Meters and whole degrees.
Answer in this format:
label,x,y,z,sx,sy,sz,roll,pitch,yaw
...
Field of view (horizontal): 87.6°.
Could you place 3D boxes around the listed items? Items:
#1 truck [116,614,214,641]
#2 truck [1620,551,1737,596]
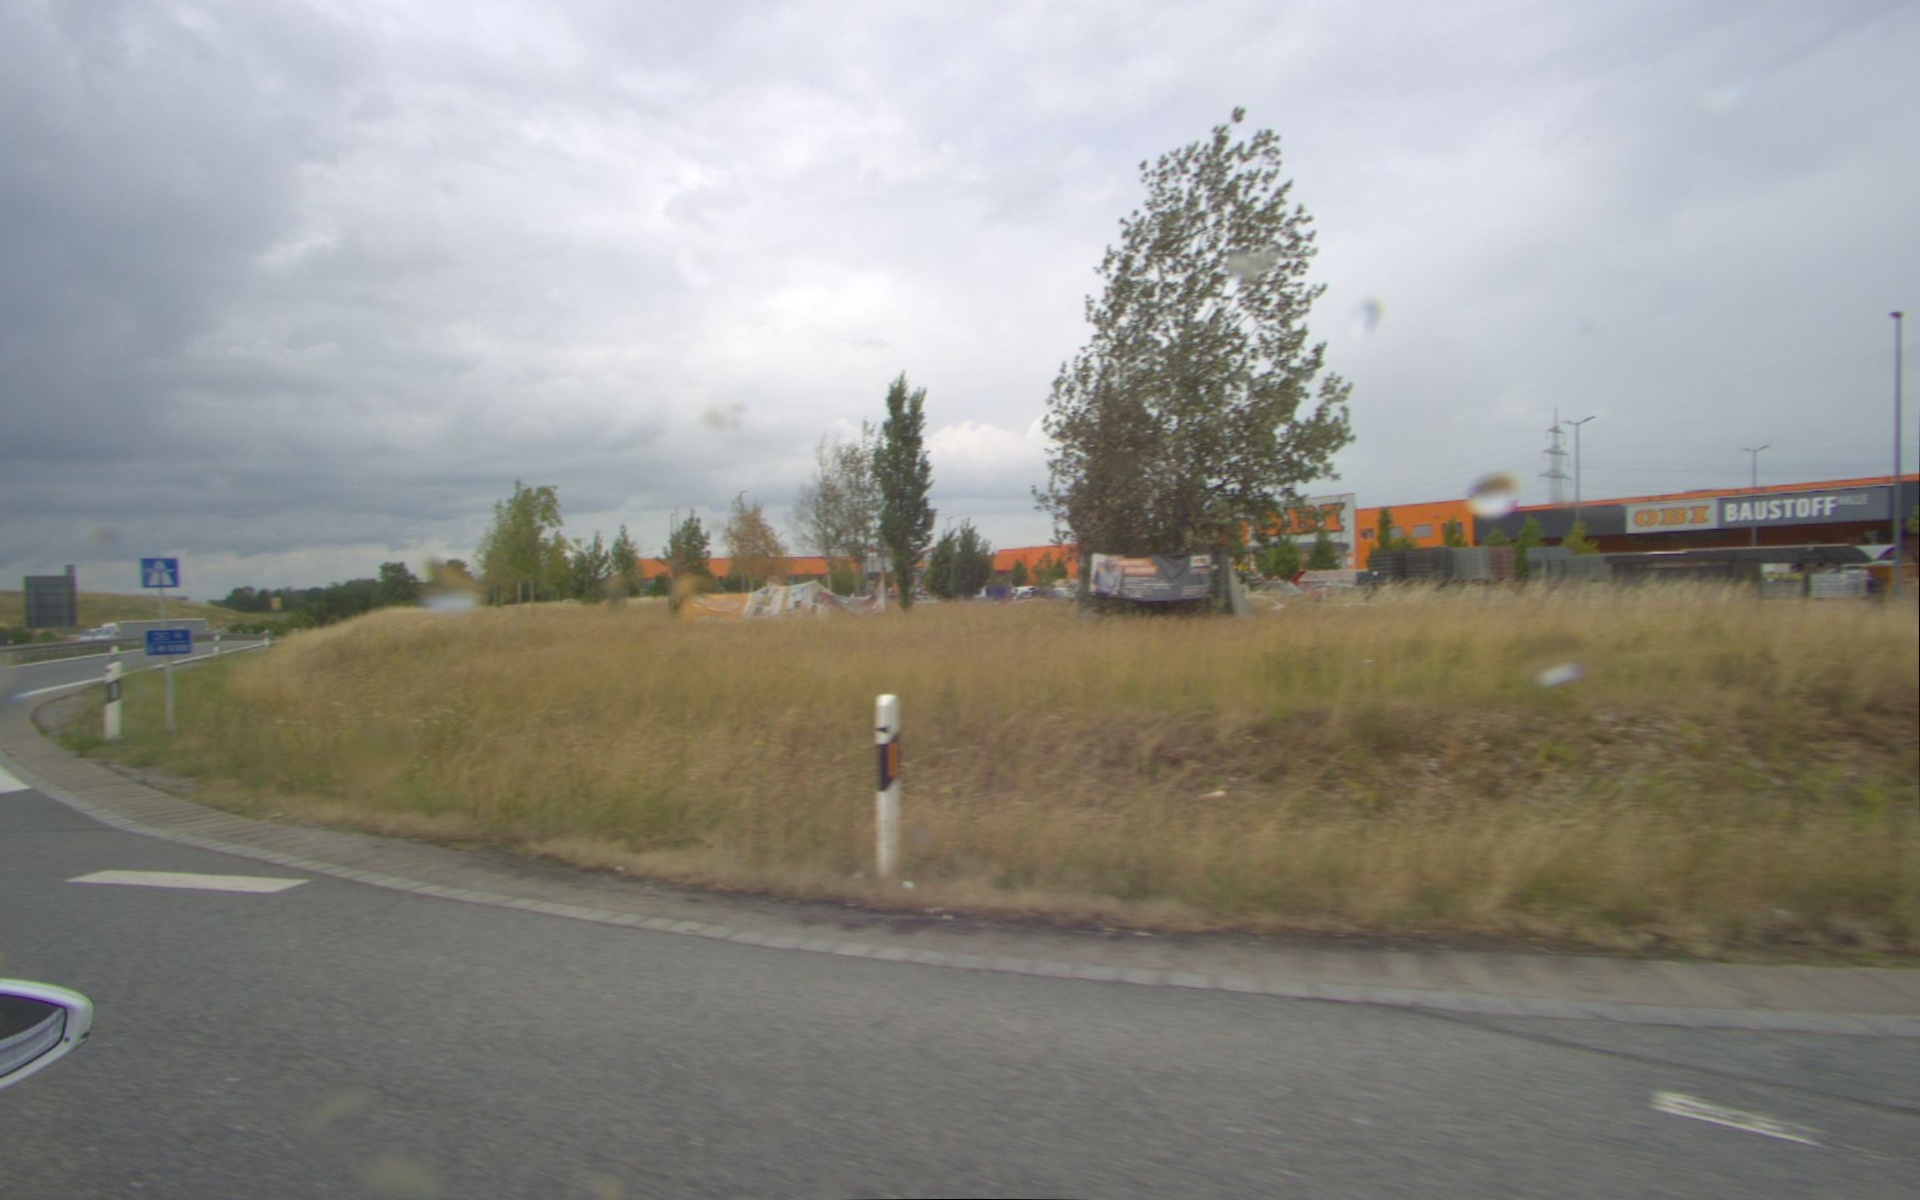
label,x,y,z,sx,sy,sz,roll,pitch,yaw
truck,-158.342,5.413,199.803,15.152,5.025,3.421,0,-1,-39
truck,44.798,-1.572,62.564,2.410,2.516,5.512,0,-1,-36
